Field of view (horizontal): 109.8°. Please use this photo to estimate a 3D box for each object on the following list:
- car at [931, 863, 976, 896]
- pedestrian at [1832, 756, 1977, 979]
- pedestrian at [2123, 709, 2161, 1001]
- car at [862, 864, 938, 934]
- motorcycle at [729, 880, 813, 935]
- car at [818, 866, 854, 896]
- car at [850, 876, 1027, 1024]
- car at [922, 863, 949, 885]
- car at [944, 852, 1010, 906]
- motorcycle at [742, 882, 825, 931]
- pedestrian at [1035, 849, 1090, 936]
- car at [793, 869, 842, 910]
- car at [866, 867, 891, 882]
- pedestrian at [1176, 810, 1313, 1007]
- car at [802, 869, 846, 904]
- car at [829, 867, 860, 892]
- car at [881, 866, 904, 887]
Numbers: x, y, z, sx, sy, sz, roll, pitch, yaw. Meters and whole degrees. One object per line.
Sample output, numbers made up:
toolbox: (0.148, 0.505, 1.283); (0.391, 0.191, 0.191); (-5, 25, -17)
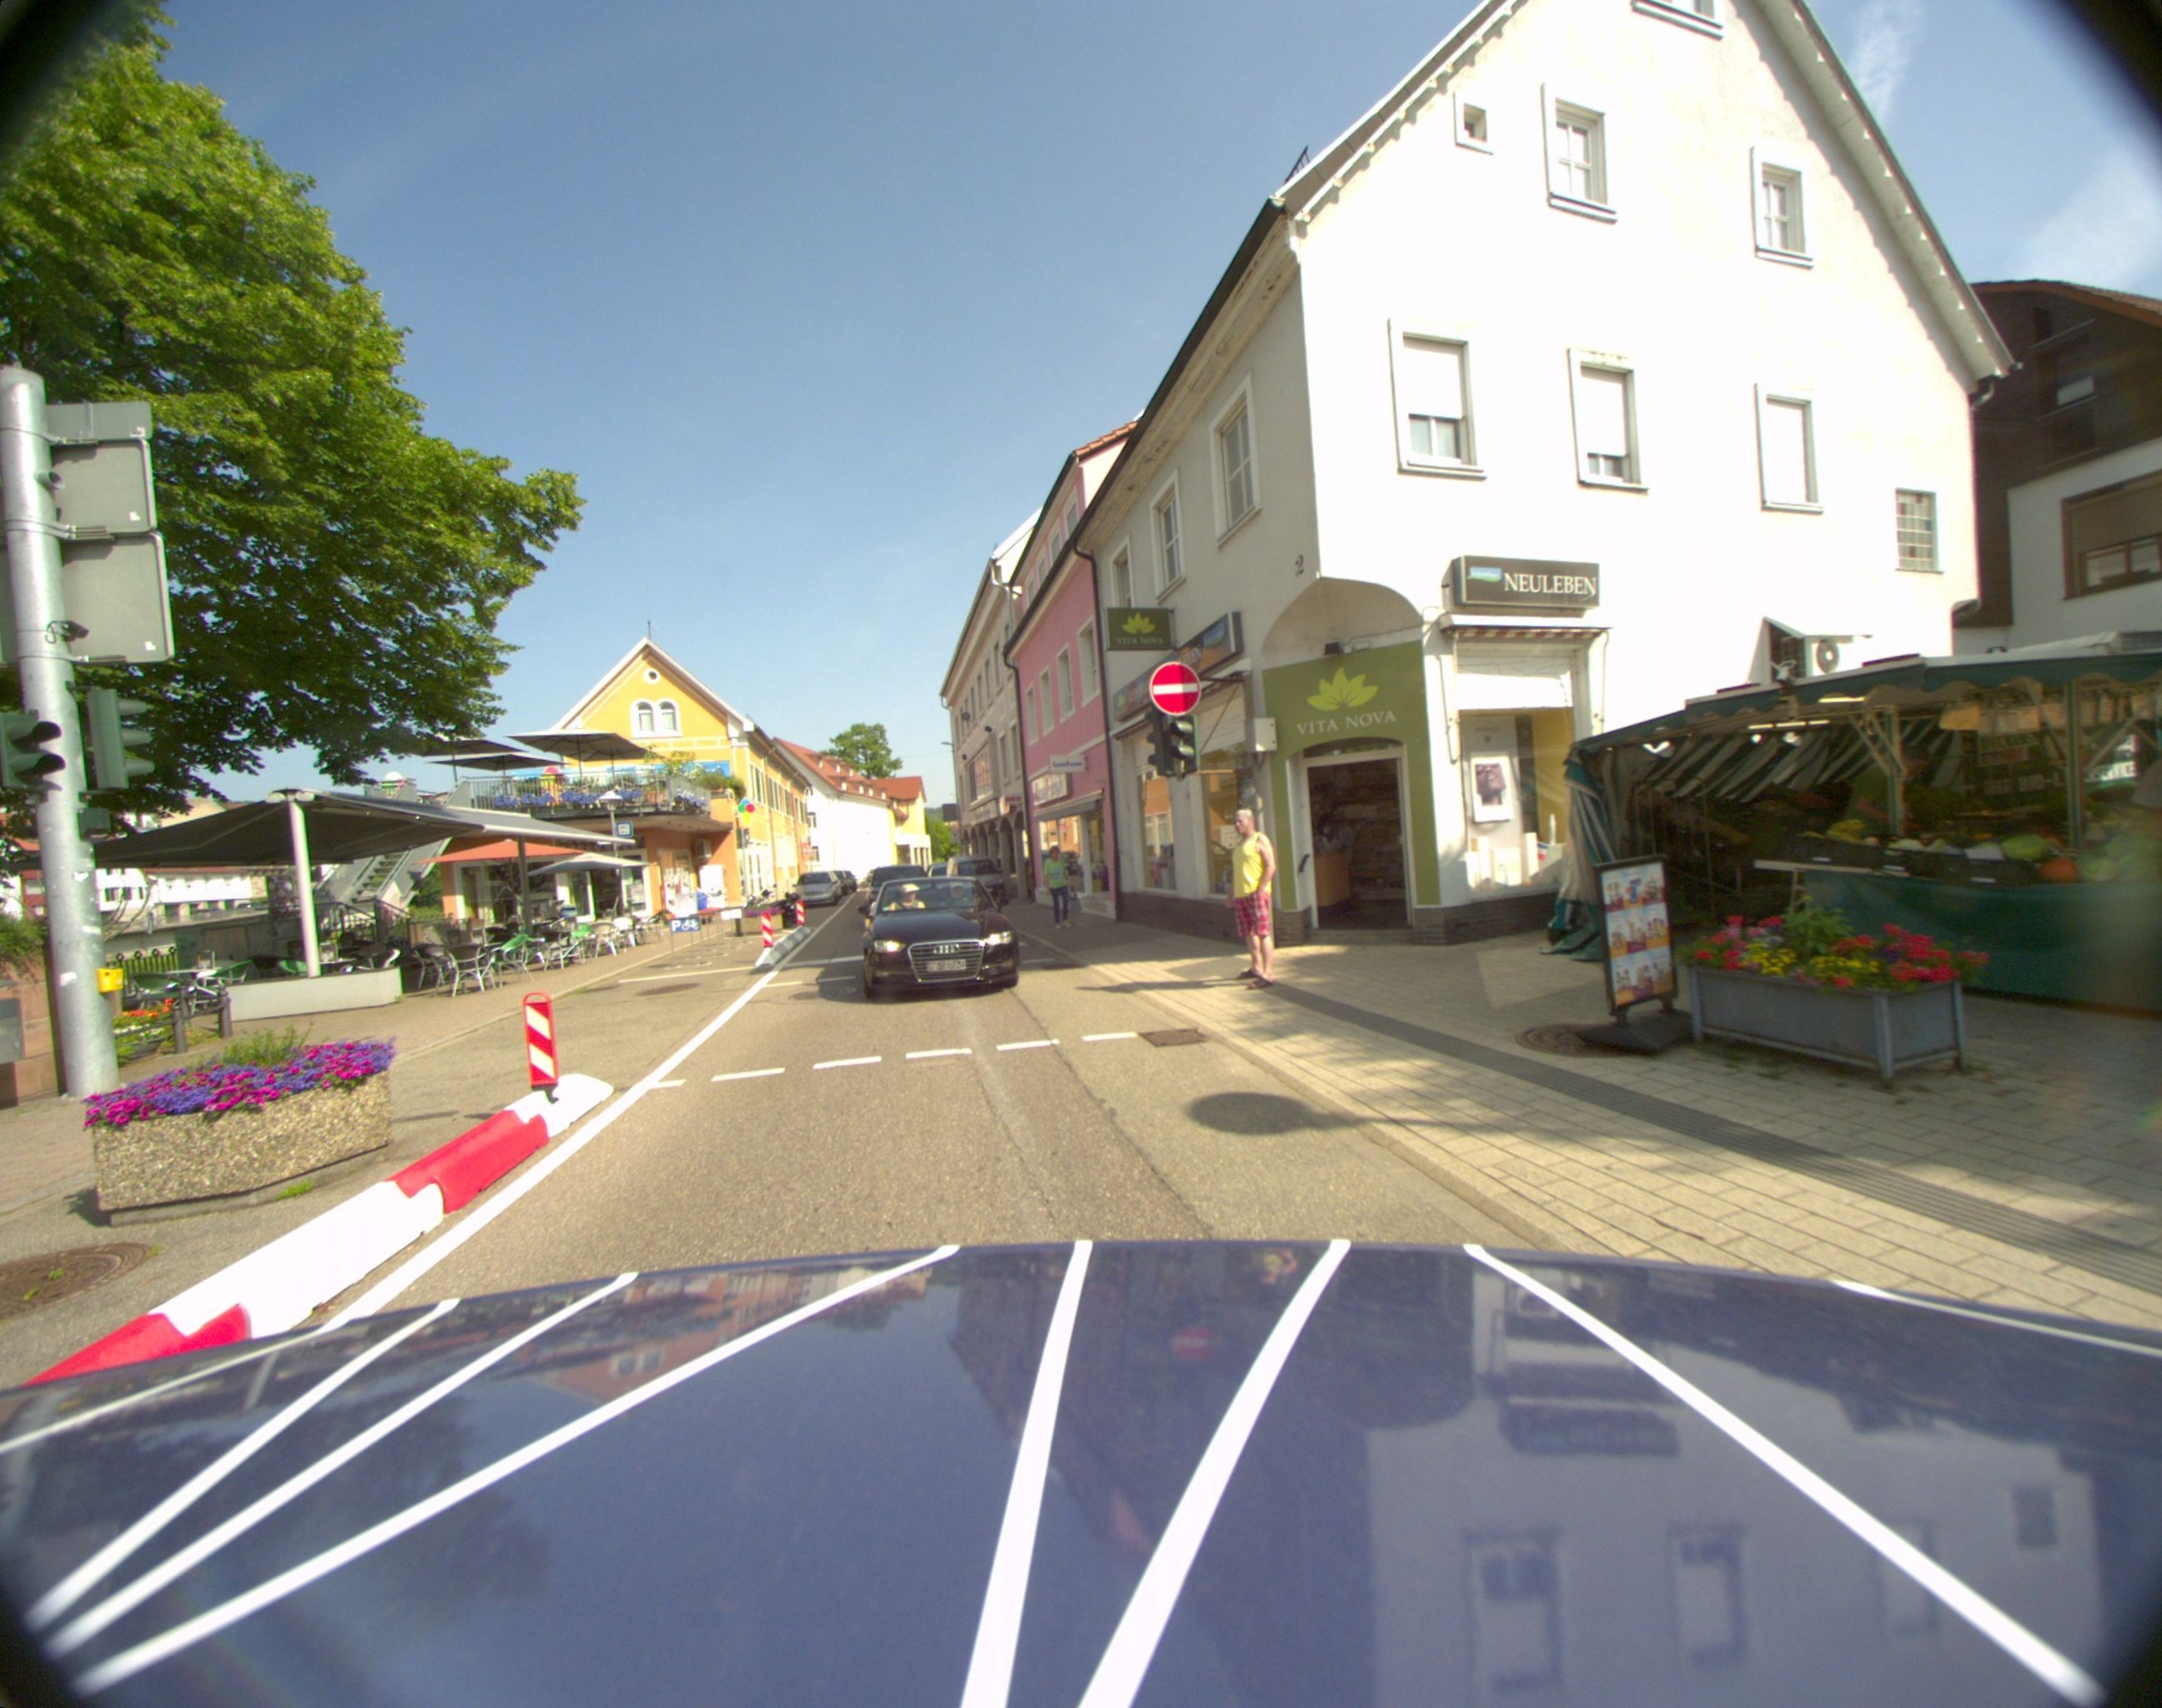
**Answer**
car: (-6.649, 1.273, 39.253); (1.809, 1.462, 4.450); (-5, 0, -14)
pedestrian: (7.615, 0.130, 7.055); (0.706, 1.959, 0.508); (-3, 2, 13)
pedestrian: (7.664, -0.011, 5.120); (0.653, 1.974, 0.705); (-5, 2, -34)
car: (-4.781, 1.099, 20.158); (1.684, 1.552, 3.966); (-4, 0, -13)
motorcycle: (-8.780, 1.498, 21.549); (0.914, 1.350, 1.904); (-3, 1, 41)
car: (-15.180, 1.643, 47.262); (1.685, 1.636, 4.246); (-3, 0, -13)
car: (-1.958, 1.054, 10.066); (1.757, 1.348, 4.195); (-3, 0, -13)
car: (-11.225, 1.504, 58.359); (1.771, 1.552, 3.966); (-4, 0, -13)
car: (-3.979, 0.903, 28.567); (1.712, 1.729, 4.140); (-6, 1, -16)
motorcycle: (-8.944, 1.559, 22.937); (0.927, 1.263, 2.094); (-3, 1, 36)
pedestrian: (-0.384, 0.749, 15.278); (0.788, 1.623, 0.858); (-7, 2, -12)
car: (-12.021, 1.560, 34.886); (1.752, 1.588, 4.588); (-5, 0, -16)
car: (-19.738, 2.009, 74.064); (1.527, 1.237, 4.033); (-4, 0, -4)
pedestrian: (1.704, 0.537, 7.802); (1.019, 1.805, 0.908); (-8, 3, 20)
car: (-13.400, 1.660, 39.857); (1.684, 1.549, 4.099); (-5, 0, -13)
car: (-16.446, 1.764, 53.038); (1.685, 1.531, 4.182); (-3, 0, -13)
car: (-15.698, 1.860, 63.299); (1.684, 1.552, 3.338); (-4, 0, -13)
